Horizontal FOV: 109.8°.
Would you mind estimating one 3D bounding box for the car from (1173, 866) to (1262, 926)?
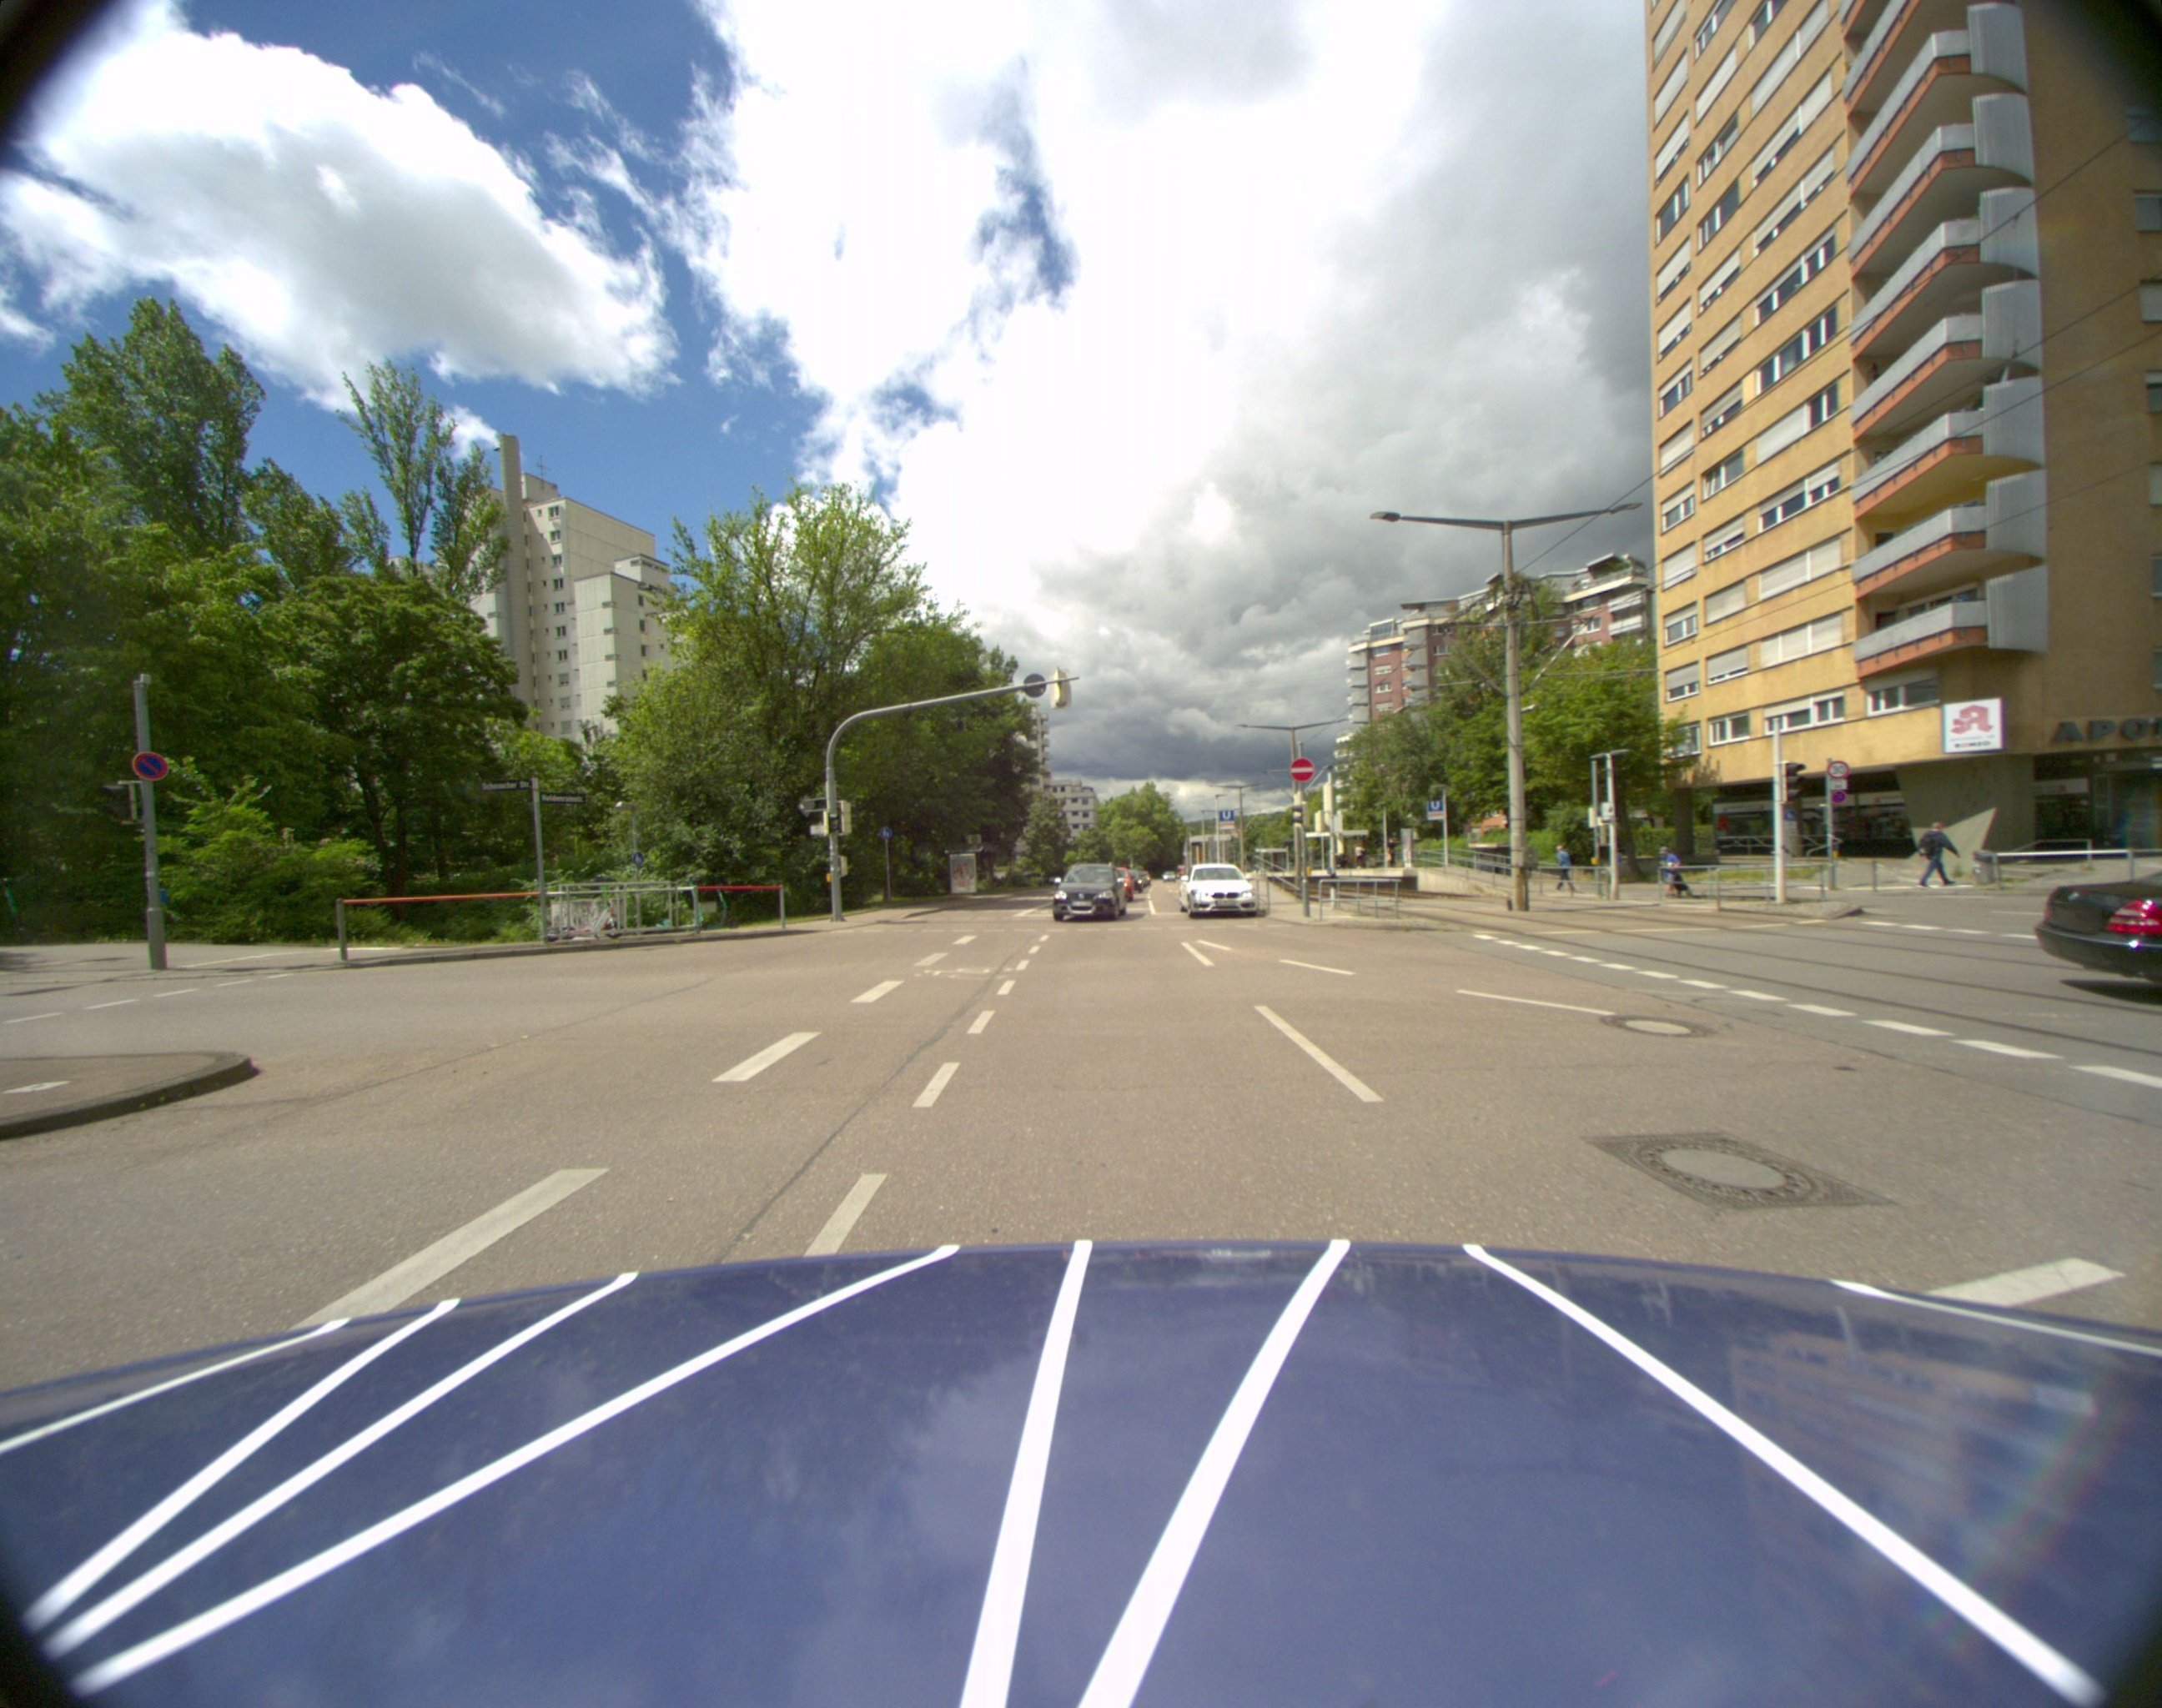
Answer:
[{"bbox_3d":[3.667,1.133,21.114,1.793,1.442,4.278,-2,-2,2],"label":"car"}]

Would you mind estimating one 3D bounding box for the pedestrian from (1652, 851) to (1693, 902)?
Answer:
[{"bbox_3d":[18.070,0.687,23.212,0.720,1.504,0.649,-1,0,4],"label":"pedestrian"}]

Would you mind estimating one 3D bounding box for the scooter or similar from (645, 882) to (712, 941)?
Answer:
[{"bbox_3d":[-8.392,1.202,15.869,1.170,1.188,0.449,-1,0,8],"label":"scooter or similar"}]

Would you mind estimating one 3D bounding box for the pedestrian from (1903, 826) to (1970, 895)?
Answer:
[{"bbox_3d":[24.546,0.199,21.829,0.920,1.923,0.853,-1,0,3],"label":"pedestrian"}]

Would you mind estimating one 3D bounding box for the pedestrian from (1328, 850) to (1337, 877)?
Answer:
[{"bbox_3d":[19.604,0.740,59.156,0.532,2.129,0.608,-1,0,7],"label":"pedestrian"}]

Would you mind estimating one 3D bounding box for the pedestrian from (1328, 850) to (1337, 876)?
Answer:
[{"bbox_3d":[19.764,0.723,59.735,0.517,2.002,0.558,-1,0,4],"label":"pedestrian"}]

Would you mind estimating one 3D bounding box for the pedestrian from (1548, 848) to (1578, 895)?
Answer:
[{"bbox_3d":[16.689,0.591,26.312,0.719,1.588,0.913,-1,0,42],"label":"pedestrian"}]

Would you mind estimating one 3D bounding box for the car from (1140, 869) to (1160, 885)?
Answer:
[{"bbox_3d":[5.712,1.881,62.853,1.605,1.207,3.773,-1,-1,5],"label":"car"}]

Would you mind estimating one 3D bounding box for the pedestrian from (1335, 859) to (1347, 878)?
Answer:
[{"bbox_3d":[19.348,1.063,56.476,0.645,1.406,0.658,-1,0,4],"label":"pedestrian"}]

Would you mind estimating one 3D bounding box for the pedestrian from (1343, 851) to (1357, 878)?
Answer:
[{"bbox_3d":[19.237,0.773,54.393,0.771,1.920,0.573,-1,0,2],"label":"pedestrian"}]

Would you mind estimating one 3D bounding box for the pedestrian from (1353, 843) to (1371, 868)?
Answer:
[{"bbox_3d":[18.029,0.113,48.805,0.865,1.596,0.747,-1,0,3],"label":"pedestrian"}]

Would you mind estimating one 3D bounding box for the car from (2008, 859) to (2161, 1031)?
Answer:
[{"bbox_3d":[11.154,0.711,5.885,4.662,1.390,1.982,-2,-1,35],"label":"car"}]

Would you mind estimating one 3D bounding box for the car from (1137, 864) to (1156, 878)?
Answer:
[{"bbox_3d":[7.126,1.822,82.718,1.845,1.409,4.003,-1,-1,8],"label":"car"}]

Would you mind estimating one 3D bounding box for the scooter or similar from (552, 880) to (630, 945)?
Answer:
[{"bbox_3d":[-9.731,1.148,15.112,1.185,1.227,0.479,-1,0,-9],"label":"scooter or similar"}]

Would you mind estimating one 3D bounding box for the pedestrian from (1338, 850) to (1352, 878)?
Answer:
[{"bbox_3d":[19.172,0.755,55.121,0.780,2.002,0.584,-1,0,4],"label":"pedestrian"}]

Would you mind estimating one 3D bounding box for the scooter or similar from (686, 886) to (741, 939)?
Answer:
[{"bbox_3d":[-9.821,1.562,20.307,1.212,1.284,0.534,-5,-3,-30],"label":"scooter or similar"}]

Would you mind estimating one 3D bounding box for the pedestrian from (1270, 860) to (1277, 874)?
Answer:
[{"bbox_3d":[23.324,1.578,92.043,0.774,1.695,0.767,-1,0,12],"label":"pedestrian"}]

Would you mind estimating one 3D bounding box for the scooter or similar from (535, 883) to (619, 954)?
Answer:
[{"bbox_3d":[-9.308,1.173,14.079,1.212,1.227,0.478,-1,0,-24],"label":"scooter or similar"}]

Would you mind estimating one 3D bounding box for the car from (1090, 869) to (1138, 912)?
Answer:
[{"bbox_3d":[1.372,1.517,32.582,1.819,1.483,4.000,-5,0,1],"label":"car"}]

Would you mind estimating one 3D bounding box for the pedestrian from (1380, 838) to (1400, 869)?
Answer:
[{"bbox_3d":[17.914,-0.027,44.029,0.865,1.763,0.747,-1,0,3],"label":"pedestrian"}]

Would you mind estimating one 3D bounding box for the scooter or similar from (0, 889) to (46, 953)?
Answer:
[{"bbox_3d":[-20.614,1.272,14.492,1.174,1.175,0.523,-1,0,8],"label":"scooter or similar"}]

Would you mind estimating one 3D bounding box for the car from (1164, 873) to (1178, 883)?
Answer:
[{"bbox_3d":[12.594,3.294,105.790,1.804,1.207,4.024,-1,-1,8],"label":"car"}]

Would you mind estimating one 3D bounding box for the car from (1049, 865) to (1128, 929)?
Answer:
[{"bbox_3d":[0.297,1.102,20.685,1.680,1.529,3.796,-1,-1,8],"label":"car"}]
